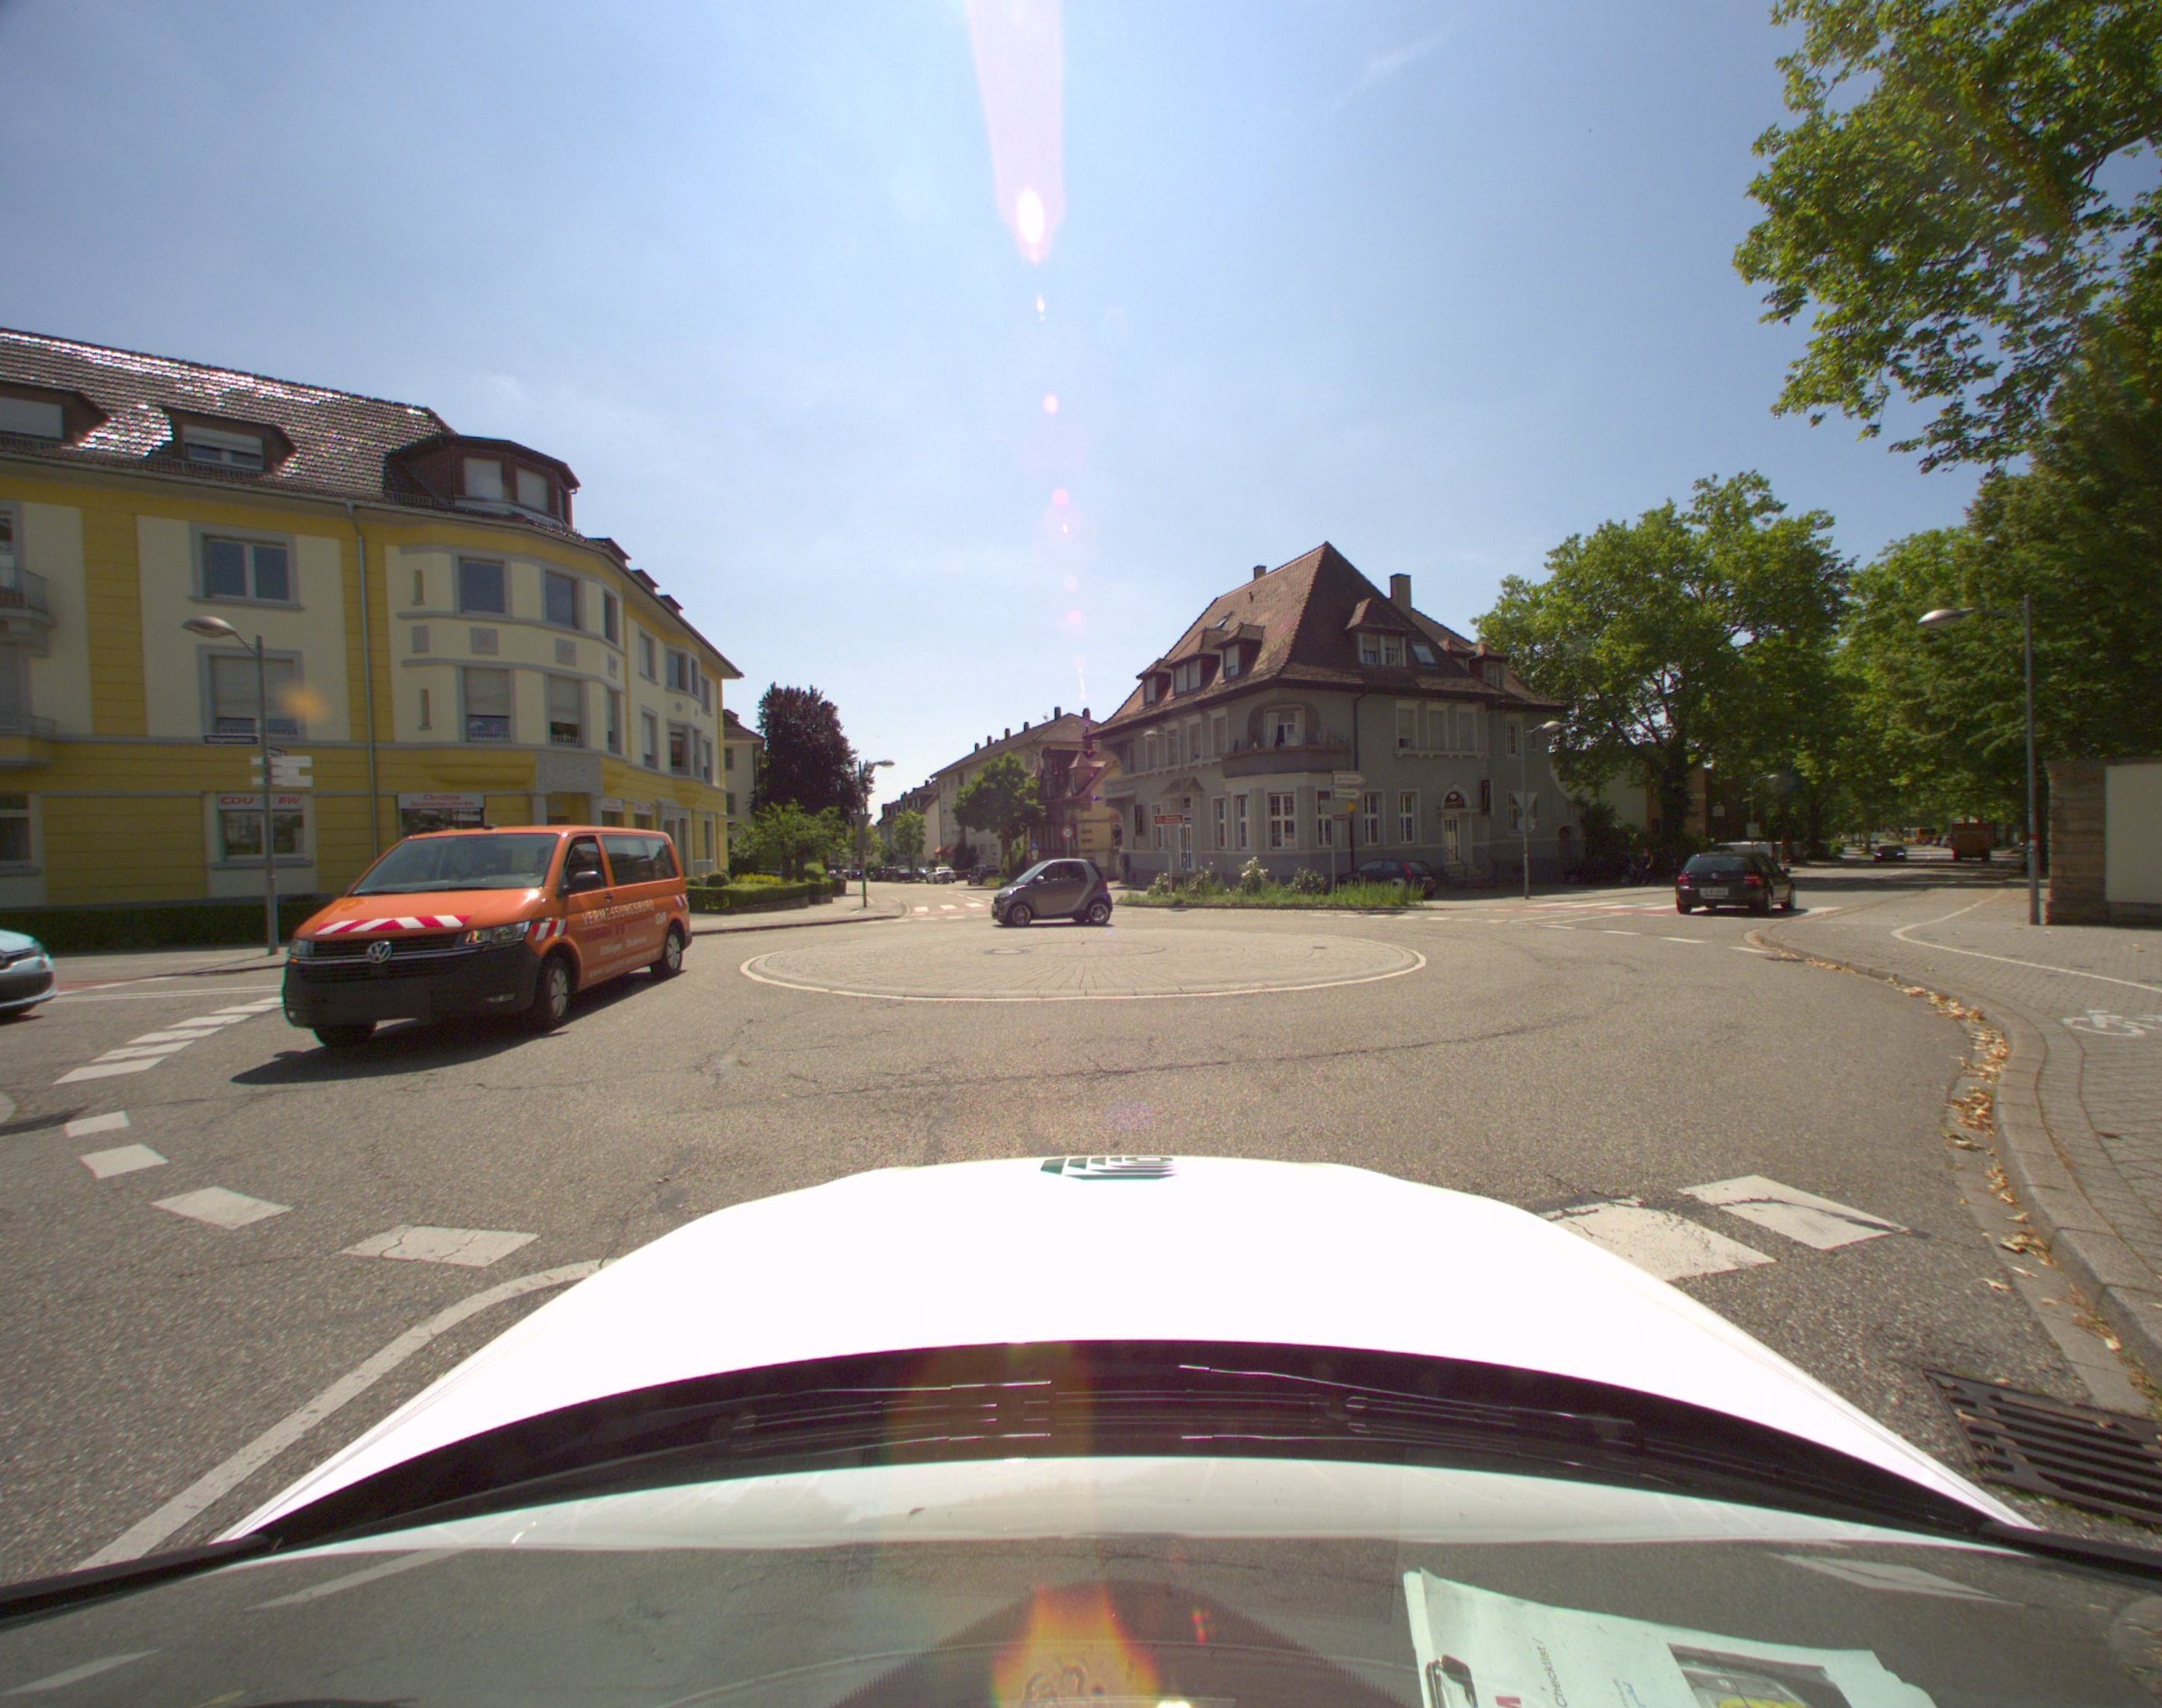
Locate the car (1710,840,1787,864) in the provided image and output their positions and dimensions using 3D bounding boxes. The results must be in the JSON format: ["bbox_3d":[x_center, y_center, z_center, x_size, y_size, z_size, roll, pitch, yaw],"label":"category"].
[{"bbox_3d":[51.183,-0.192,62.505,1.914,1.804,4.385,-1,1,-42],"label":"car"}]

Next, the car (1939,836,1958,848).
[{"bbox_3d":[133.765,-1.851,125.543,4.023,1.686,1.862,1,-2,-45],"label":"car"}]

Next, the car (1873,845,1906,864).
[{"bbox_3d":[66.573,0.035,67.054,4.417,1.426,1.753,0,-1,-43],"label":"car"}]

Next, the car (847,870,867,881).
[{"bbox_3d":[-32.148,3.031,116.944,2.003,1.509,4.382,-1,-1,-25],"label":"car"}]

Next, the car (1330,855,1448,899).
[{"bbox_3d":[11.050,0.804,29.436,1.729,1.460,3.757,-1,-1,-29],"label":"car"}]

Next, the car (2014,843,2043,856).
[{"bbox_3d":[103.403,-0.483,88.923,3.751,1.374,1.750,-1,-2,-44],"label":"car"}]

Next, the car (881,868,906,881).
[{"bbox_3d":[-21.595,2.340,93.717,2.003,1.509,4.382,-1,-1,-25],"label":"car"}]

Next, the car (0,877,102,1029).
[{"bbox_3d":[-13.151,1.033,8.122,4.153,1.525,1.653,0,0,-13],"label":"car"}]

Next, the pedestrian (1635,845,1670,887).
[{"bbox_3d":[24.775,0.516,35.286,1.116,1.742,0.865,0,-1,-33],"label":"pedestrian"}]

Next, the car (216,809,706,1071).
[{"bbox_3d":[-5.958,0.615,8.868,1.943,1.959,5.008,-2,1,-8],"label":"car"}]

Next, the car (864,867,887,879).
[{"bbox_3d":[-25.936,2.379,102.768,2.003,1.509,4.382,-1,-1,-25],"label":"car"}]

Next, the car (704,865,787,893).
[{"bbox_3d":[-20.459,1.512,49.670,4.434,1.509,1.980,-1,-1,-32],"label":"car"}]

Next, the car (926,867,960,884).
[{"bbox_3d":[-12.677,1.949,74.668,2.003,1.509,4.382,-1,-1,-25],"label":"car"}]

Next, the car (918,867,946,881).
[{"bbox_3d":[-17.112,2.321,93.329,2.003,1.509,4.382,-1,-1,-25],"label":"car"}]

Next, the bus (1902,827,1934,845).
[{"bbox_3d":[157.116,-3.320,152.979,2.638,3.150,11.268,-2,-1,38],"label":"bus"}]

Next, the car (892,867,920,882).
[{"bbox_3d":[-19.005,2.231,88.291,2.003,1.509,4.382,-1,-1,-25],"label":"car"}]

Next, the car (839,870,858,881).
[{"bbox_3d":[-34.945,3.217,122.328,2.003,1.509,4.382,-1,-1,-25],"label":"car"}]

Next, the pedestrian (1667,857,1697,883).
[{"bbox_3d":[27.317,0.727,37.017,0.900,1.122,0.749,-1,-1,-30],"label":"pedestrian"}]

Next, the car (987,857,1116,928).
[{"bbox_3d":[-0.729,0.868,19.331,2.785,1.530,1.561,-1,-1,-16],"label":"car"}]

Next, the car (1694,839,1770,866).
[{"bbox_3d":[46.023,-0.145,57.595,1.878,1.792,3.952,-1,1,-42],"label":"car"}]

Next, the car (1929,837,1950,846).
[{"bbox_3d":[141.437,-2.087,134.209,1.749,1.374,3.753,-3,-2,37],"label":"car"}]

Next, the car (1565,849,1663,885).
[{"bbox_3d":[24.599,0.588,37.675,1.729,1.546,3.360,-1,-1,-29],"label":"car"}]

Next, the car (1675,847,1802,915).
[{"bbox_3d":[15.682,0.582,19.353,4.080,1.447,1.696,-1,-1,-42],"label":"car"}]

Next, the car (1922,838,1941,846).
[{"bbox_3d":[146.693,-2.046,140.500,1.749,1.374,3.753,-3,-2,38],"label":"car"}]

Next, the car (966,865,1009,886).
[{"bbox_3d":[-7.352,1.660,63.815,2.003,1.509,4.382,-1,-1,-25],"label":"car"}]

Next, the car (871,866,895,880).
[{"bbox_3d":[-23.958,2.292,98.475,2.003,1.509,4.382,-1,-1,-25],"label":"car"}]

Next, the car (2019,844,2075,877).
[{"bbox_3d":[51.757,0.319,43.606,4.803,1.557,1.726,-2,-1,-39],"label":"car"}]

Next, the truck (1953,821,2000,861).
[{"bbox_3d":[73.942,-1.022,67.225,5.798,3.134,2.350,1,-2,-40],"label":"truck"}]

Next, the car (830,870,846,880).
[{"bbox_3d":[-39.480,3.385,132.426,2.003,1.488,3.967,0,-1,-25],"label":"car"}]

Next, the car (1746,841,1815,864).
[{"bbox_3d":[57.825,-0.135,67.385,1.914,1.804,4.092,-1,1,-42],"label":"car"}]
